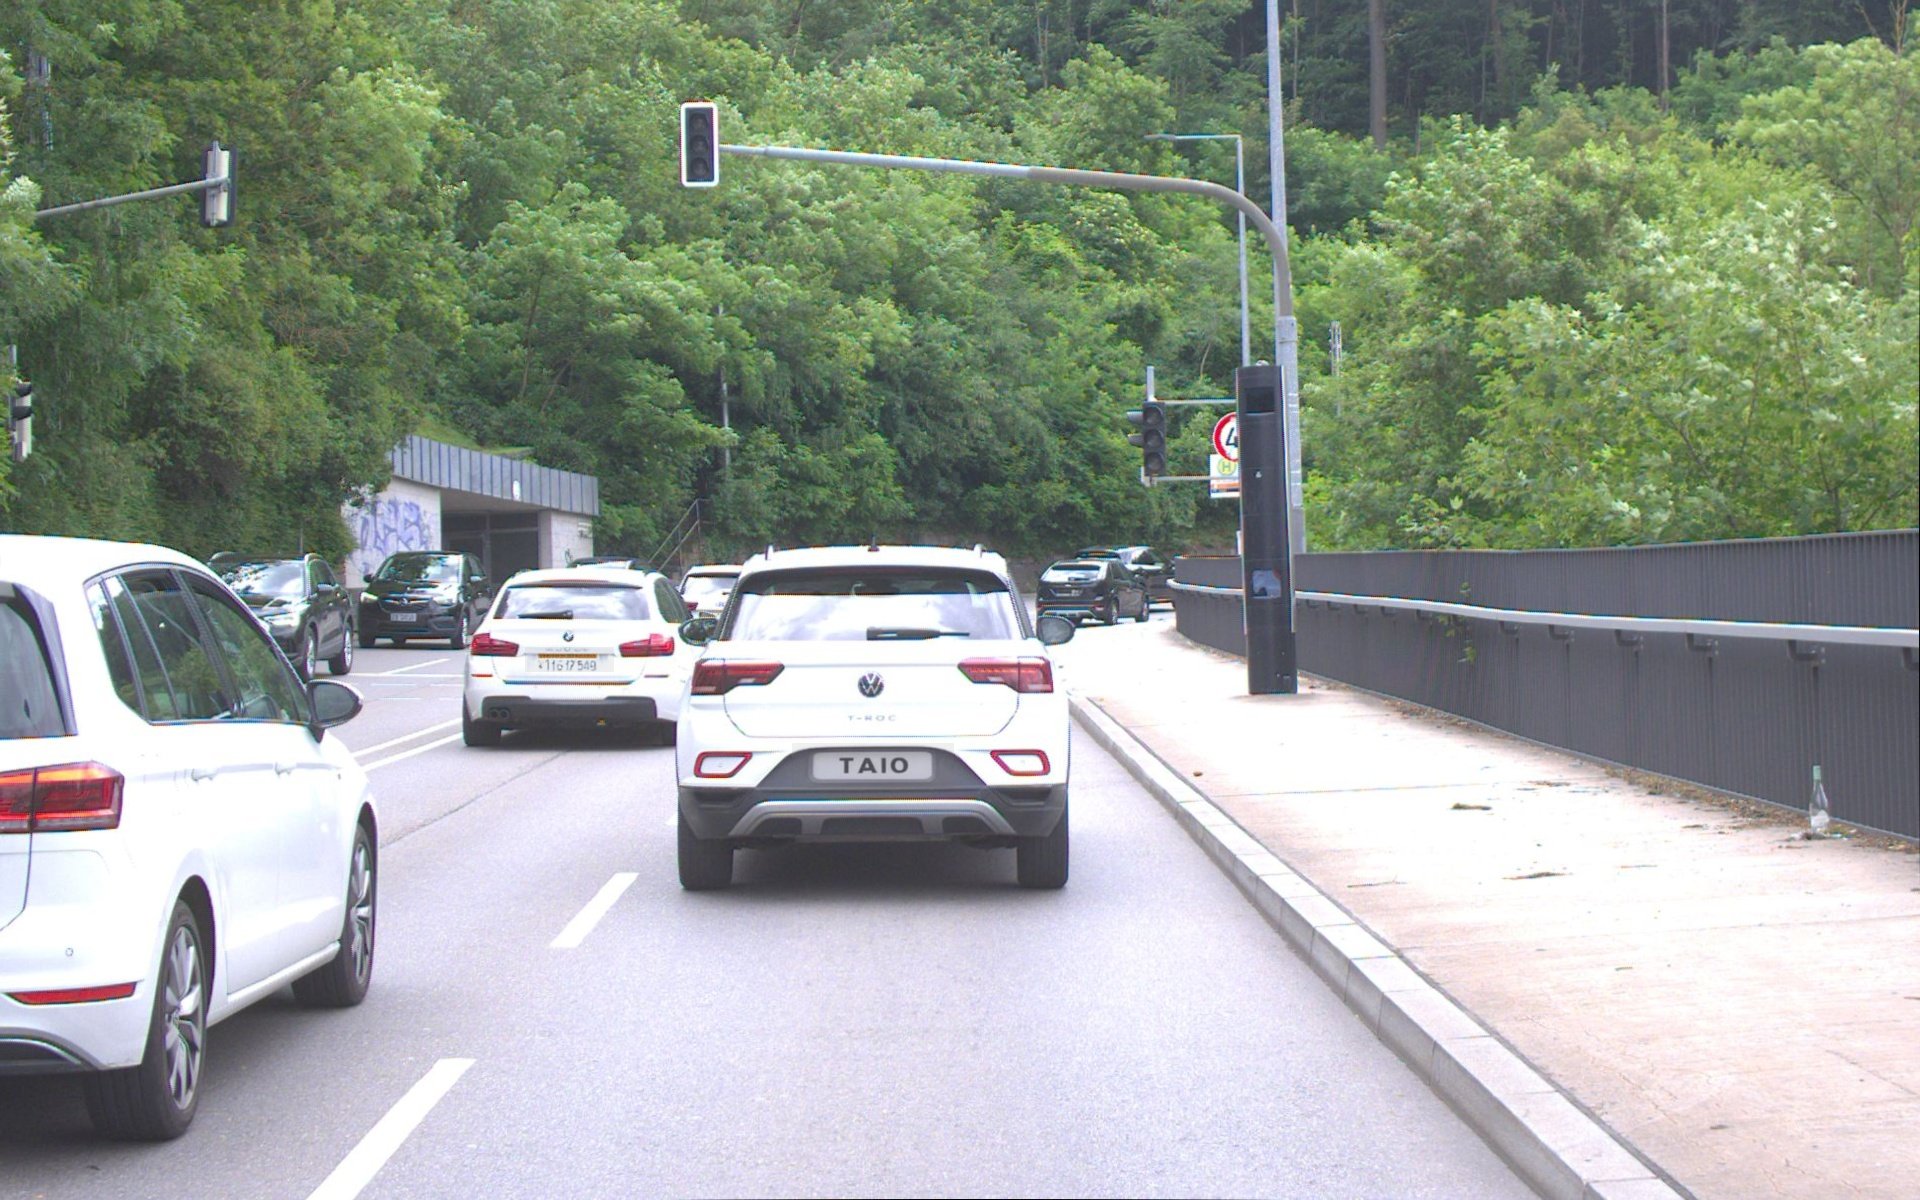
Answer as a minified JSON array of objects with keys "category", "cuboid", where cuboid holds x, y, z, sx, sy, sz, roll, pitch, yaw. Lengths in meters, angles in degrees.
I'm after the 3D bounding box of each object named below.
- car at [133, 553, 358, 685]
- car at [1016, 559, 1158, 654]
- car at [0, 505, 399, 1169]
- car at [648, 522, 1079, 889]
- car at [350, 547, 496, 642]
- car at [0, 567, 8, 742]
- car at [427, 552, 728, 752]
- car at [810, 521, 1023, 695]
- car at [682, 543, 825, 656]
[{"category":"car","cuboid":[-8.927,0.222,43.288,1.942,1.543,4.249,-1,0,0]},{"category":"car","cuboid":[2.832,0.146,75.897,1.995,2.007,3.996,1,0,20]},{"category":"car","cuboid":[-2.824,0.535,10.147,1.720,1.549,4.276,0,1,-1]},{"category":"car","cuboid":[-0.427,0.462,16.680,1.813,1.534,4.008,-1,0,0]},{"category":"car","cuboid":[-8.870,-0.115,57.084,1.781,1.477,4.212,1,1,-1]},{"category":"car","cuboid":[-8.757,0.493,26.379,1.676,1.437,4.233,1,2,1]},{"category":"car","cuboid":[-3.160,0.378,29.300,1.993,1.552,4.681,0,1,1]},{"category":"car","cuboid":[-0.431,0.082,39.050,1.994,1.837,4.149,1,0,5]},{"category":"car","cuboid":[-3.054,-0.021,51.502,1.862,1.589,4.000,1,0,0]}]
